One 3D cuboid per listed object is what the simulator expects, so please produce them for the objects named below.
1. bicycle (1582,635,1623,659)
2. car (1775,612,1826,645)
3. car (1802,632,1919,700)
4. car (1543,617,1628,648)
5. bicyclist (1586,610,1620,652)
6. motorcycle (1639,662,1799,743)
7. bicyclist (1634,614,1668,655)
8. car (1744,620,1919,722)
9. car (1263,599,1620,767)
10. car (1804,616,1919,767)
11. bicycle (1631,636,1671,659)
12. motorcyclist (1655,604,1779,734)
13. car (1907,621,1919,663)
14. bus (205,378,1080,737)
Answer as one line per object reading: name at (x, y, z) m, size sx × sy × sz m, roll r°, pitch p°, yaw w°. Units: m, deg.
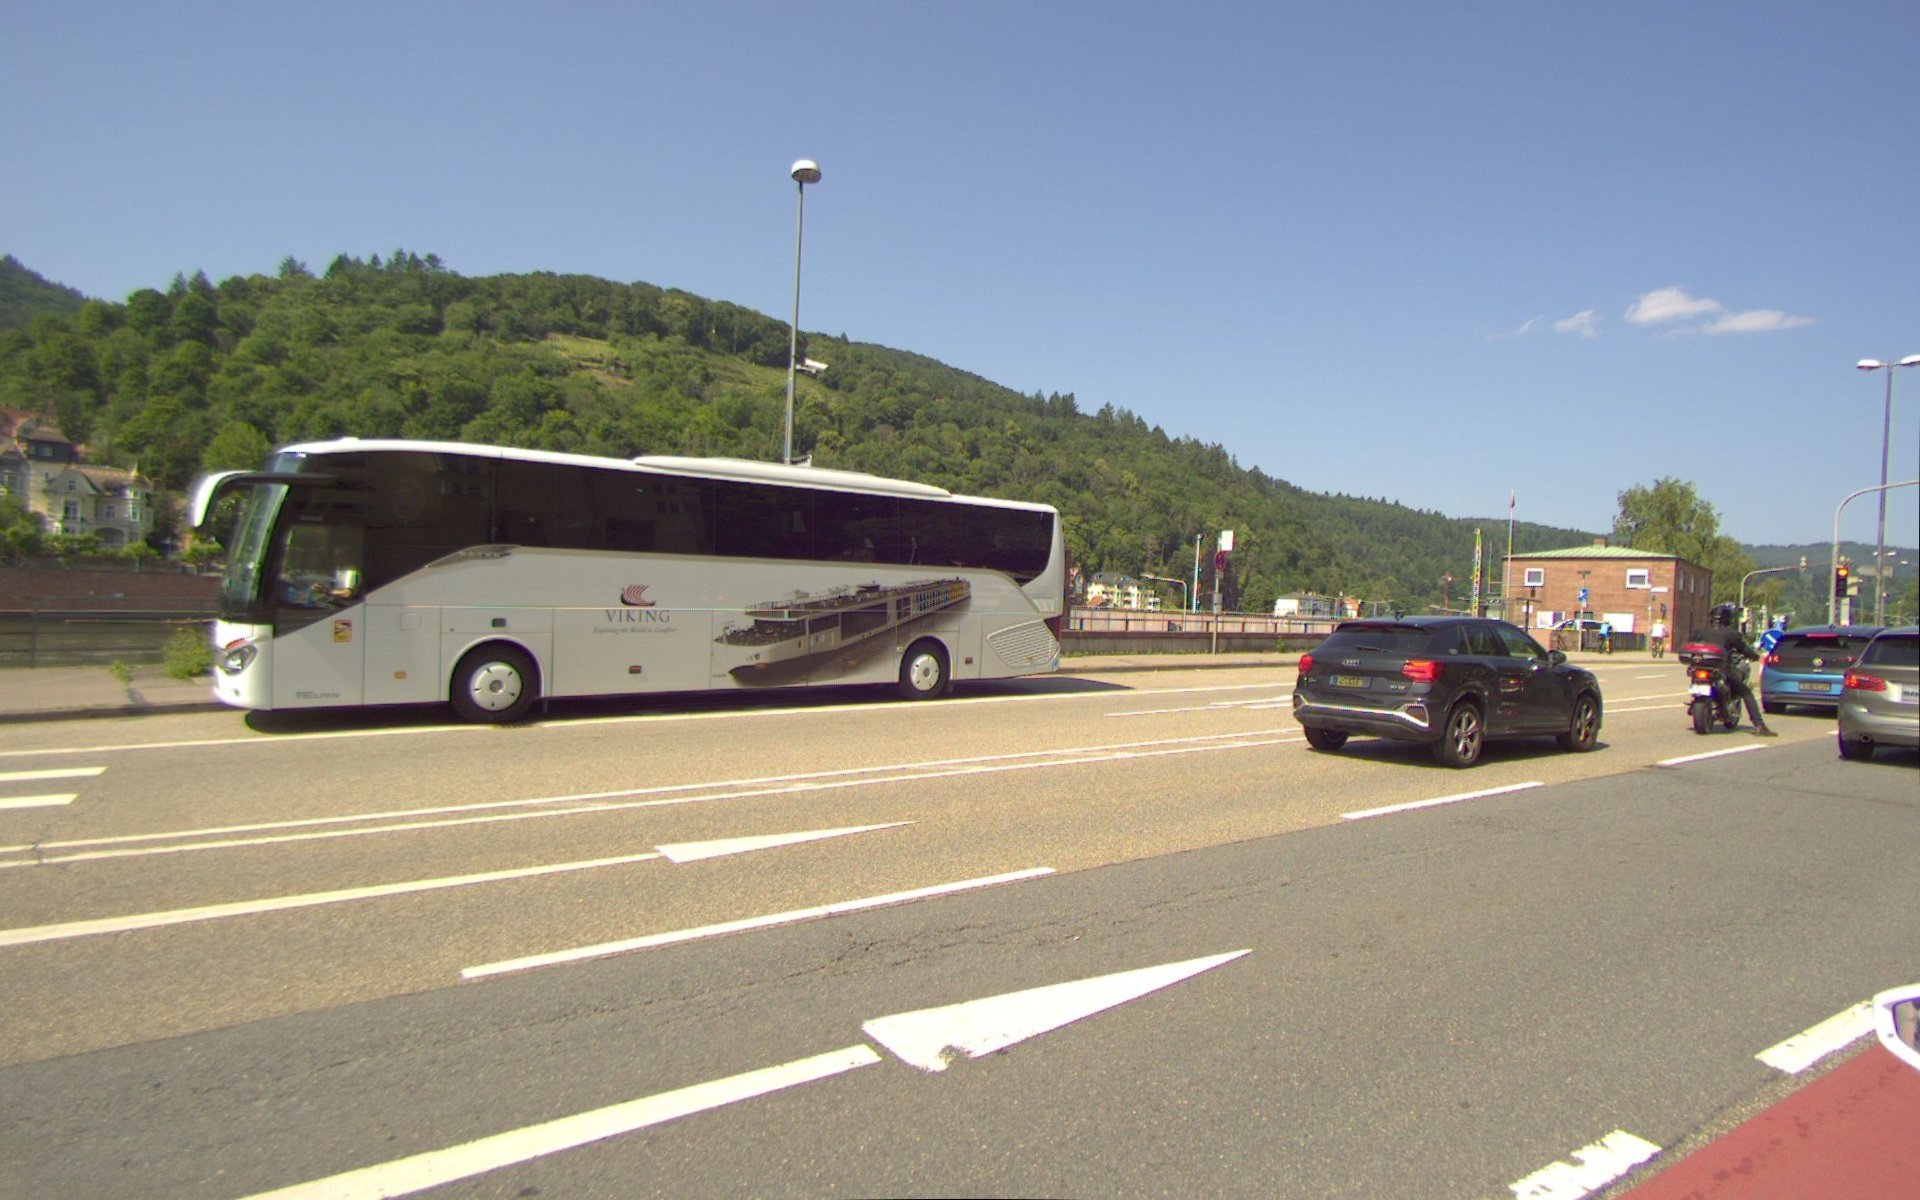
bicycle at (32.086, 2.321, 50.123) m, size 2.581 × 1.105 × 1.200 m, roll 2°, pitch -1°, yaw -45°
car at (56.323, 1.884, 67.270) m, size 5.010 × 2.106 × 2.192 m, roll 1°, pitch -1°, yaw -45°
car at (21.182, 1.451, 23.140) m, size 3.962 × 1.377 × 1.854 m, roll 1°, pitch -1°, yaw -36°
car at (42.802, 2.206, 68.800) m, size 4.524 × 2.040 × 2.001 m, roll 1°, pitch -1°, yaw 14°
bicyclist at (32.118, 1.548, 50.163) m, size 1.111 × 2.040 × 1.200 m, roll 1°, pitch -1°, yaw -44°
motorcycle at (10.626, 1.386, 14.034) m, size 2.578 × 0.932 × 1.031 m, roll 1°, pitch -1°, yaw -34°
bicyclist at (34.496, 1.716, 50.117) m, size 1.111 × 2.040 × 1.200 m, roll 1°, pitch -1°, yaw -44°
car at (15.657, 1.170, 17.739) m, size 3.962 × 1.583 × 1.854 m, roll 1°, pitch -1°, yaw -36°
car at (5.553, 0.843, 11.434) m, size 4.109 × 1.534 × 1.857 m, roll 2°, pitch 1°, yaw -35°
car at (11.719, 1.018, 11.651) m, size 4.261 × 1.541 × 1.876 m, roll 2°, pitch 0°, yaw -34°
bicycle at (34.470, 2.362, 50.104) m, size 2.581 × 1.105 × 1.200 m, roll 2°, pitch -1°, yaw -45°
motorcyclist at (10.507, 0.922, 13.949) m, size 1.144 × 1.707 × 1.069 m, roll 1°, pitch 0°, yaw -34°
car at (61.317, 2.649, 63.286) m, size 2.359 × 2.610 × 6.018 m, roll 0°, pitch -1°, yaw 44°
bus at (-3.814, -0.436, 16.079) m, size 13.130 × 3.852 × 2.932 m, roll 1°, pitch 3°, yaw -39°
